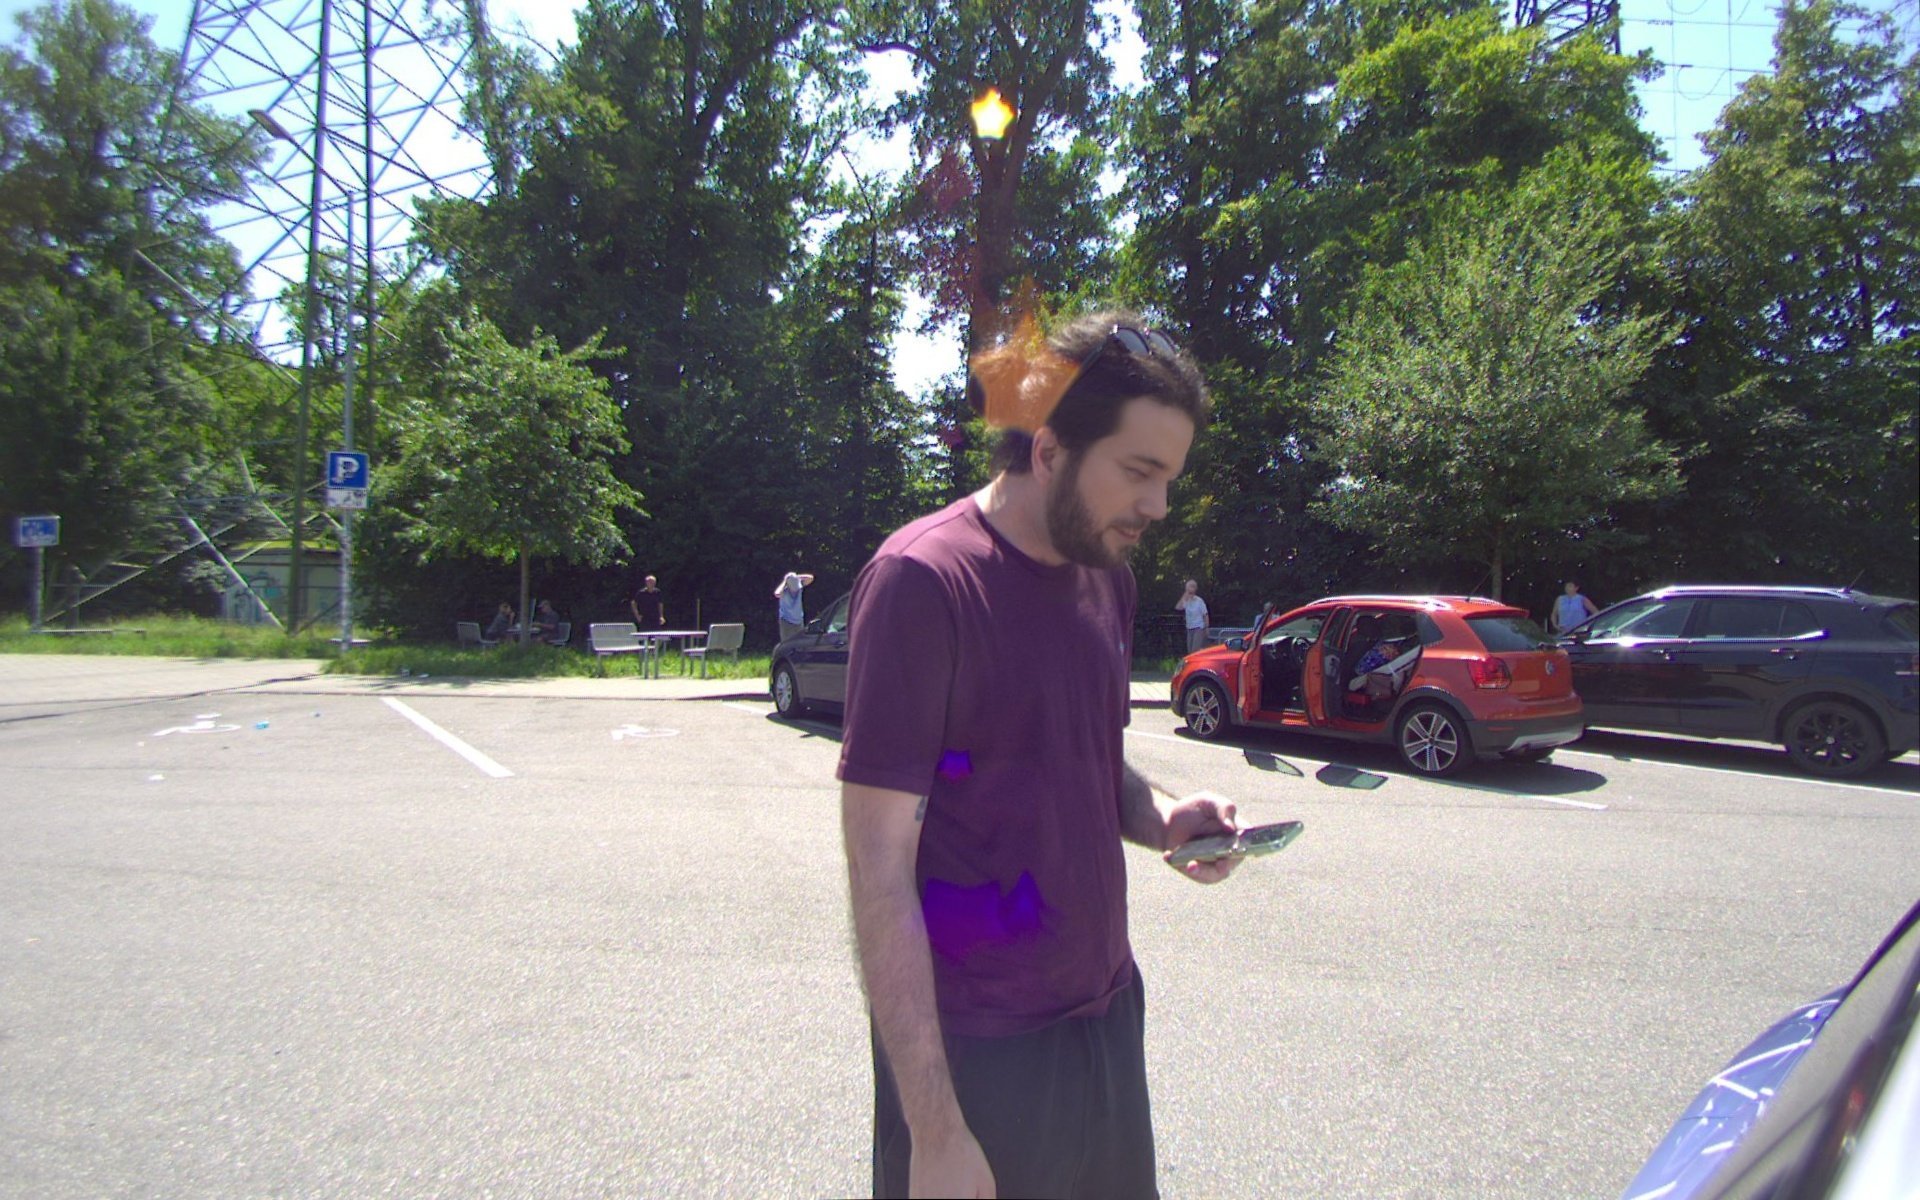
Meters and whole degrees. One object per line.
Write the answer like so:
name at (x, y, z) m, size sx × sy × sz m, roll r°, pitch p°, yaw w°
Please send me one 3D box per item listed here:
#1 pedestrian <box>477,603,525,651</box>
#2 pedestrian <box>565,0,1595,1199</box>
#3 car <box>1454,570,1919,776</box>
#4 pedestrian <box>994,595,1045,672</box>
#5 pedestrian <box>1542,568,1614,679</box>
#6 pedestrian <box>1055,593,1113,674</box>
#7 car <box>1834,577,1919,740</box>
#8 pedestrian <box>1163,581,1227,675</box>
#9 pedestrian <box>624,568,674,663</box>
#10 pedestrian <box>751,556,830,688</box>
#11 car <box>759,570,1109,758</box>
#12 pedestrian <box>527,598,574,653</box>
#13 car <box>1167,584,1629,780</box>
pedestrian at (-10.353, 0.595, 22.828) m, size 0.796 × 1.062 × 0.714 m, roll 1°, pitch -1°, yaw -43°
pedestrian at (0.161, 0.448, 1.205) m, size 0.828 × 1.797 × 0.926 m, roll 0°, pitch -1°, yaw 45°
car at (7.222, 0.569, 9.842) m, size 1.807 × 1.612 × 3.967 m, roll 1°, pitch 0°, yaw -38°
pedestrian at (1.014, 0.571, 17.330) m, size 0.656 × 1.285 × 0.655 m, roll 1°, pitch -1°, yaw -17°
pedestrian at (9.322, 0.342, 15.266) m, size 0.795 × 1.614 × 0.714 m, roll 1°, pitch -1°, yaw -39°
pedestrian at (2.060, 0.546, 16.895) m, size 0.656 × 1.311 × 0.832 m, roll 1°, pitch -1°, yaw -17°
car at (10.943, 0.594, 9.389) m, size 1.745 × 1.612 × 3.972 m, roll 1°, pitch 0°, yaw -32°
pedestrian at (4.160, 0.482, 17.941) m, size 0.794 × 1.614 × 0.776 m, roll 1°, pitch -1°, yaw -32°
pedestrian at (-6.277, 0.306, 20.391) m, size 0.702 × 1.851 × 0.904 m, roll 1°, pitch -1°, yaw -35°
pedestrian at (-2.380, 0.295, 14.176) m, size 0.786 × 1.784 × 0.809 m, roll 1°, pitch -1°, yaw -39°
car at (-0.470, 0.536, 10.705) m, size 1.809 × 1.588 × 4.017 m, roll 1°, pitch 0°, yaw -35°
pedestrian at (-9.561, 0.584, 23.617) m, size 0.796 × 1.253 × 0.713 m, roll 1°, pitch -1°, yaw -44°
car at (3.941, 0.614, 9.656) m, size 1.746 × 1.475 × 3.710 m, roll 1°, pitch 0°, yaw -33°
